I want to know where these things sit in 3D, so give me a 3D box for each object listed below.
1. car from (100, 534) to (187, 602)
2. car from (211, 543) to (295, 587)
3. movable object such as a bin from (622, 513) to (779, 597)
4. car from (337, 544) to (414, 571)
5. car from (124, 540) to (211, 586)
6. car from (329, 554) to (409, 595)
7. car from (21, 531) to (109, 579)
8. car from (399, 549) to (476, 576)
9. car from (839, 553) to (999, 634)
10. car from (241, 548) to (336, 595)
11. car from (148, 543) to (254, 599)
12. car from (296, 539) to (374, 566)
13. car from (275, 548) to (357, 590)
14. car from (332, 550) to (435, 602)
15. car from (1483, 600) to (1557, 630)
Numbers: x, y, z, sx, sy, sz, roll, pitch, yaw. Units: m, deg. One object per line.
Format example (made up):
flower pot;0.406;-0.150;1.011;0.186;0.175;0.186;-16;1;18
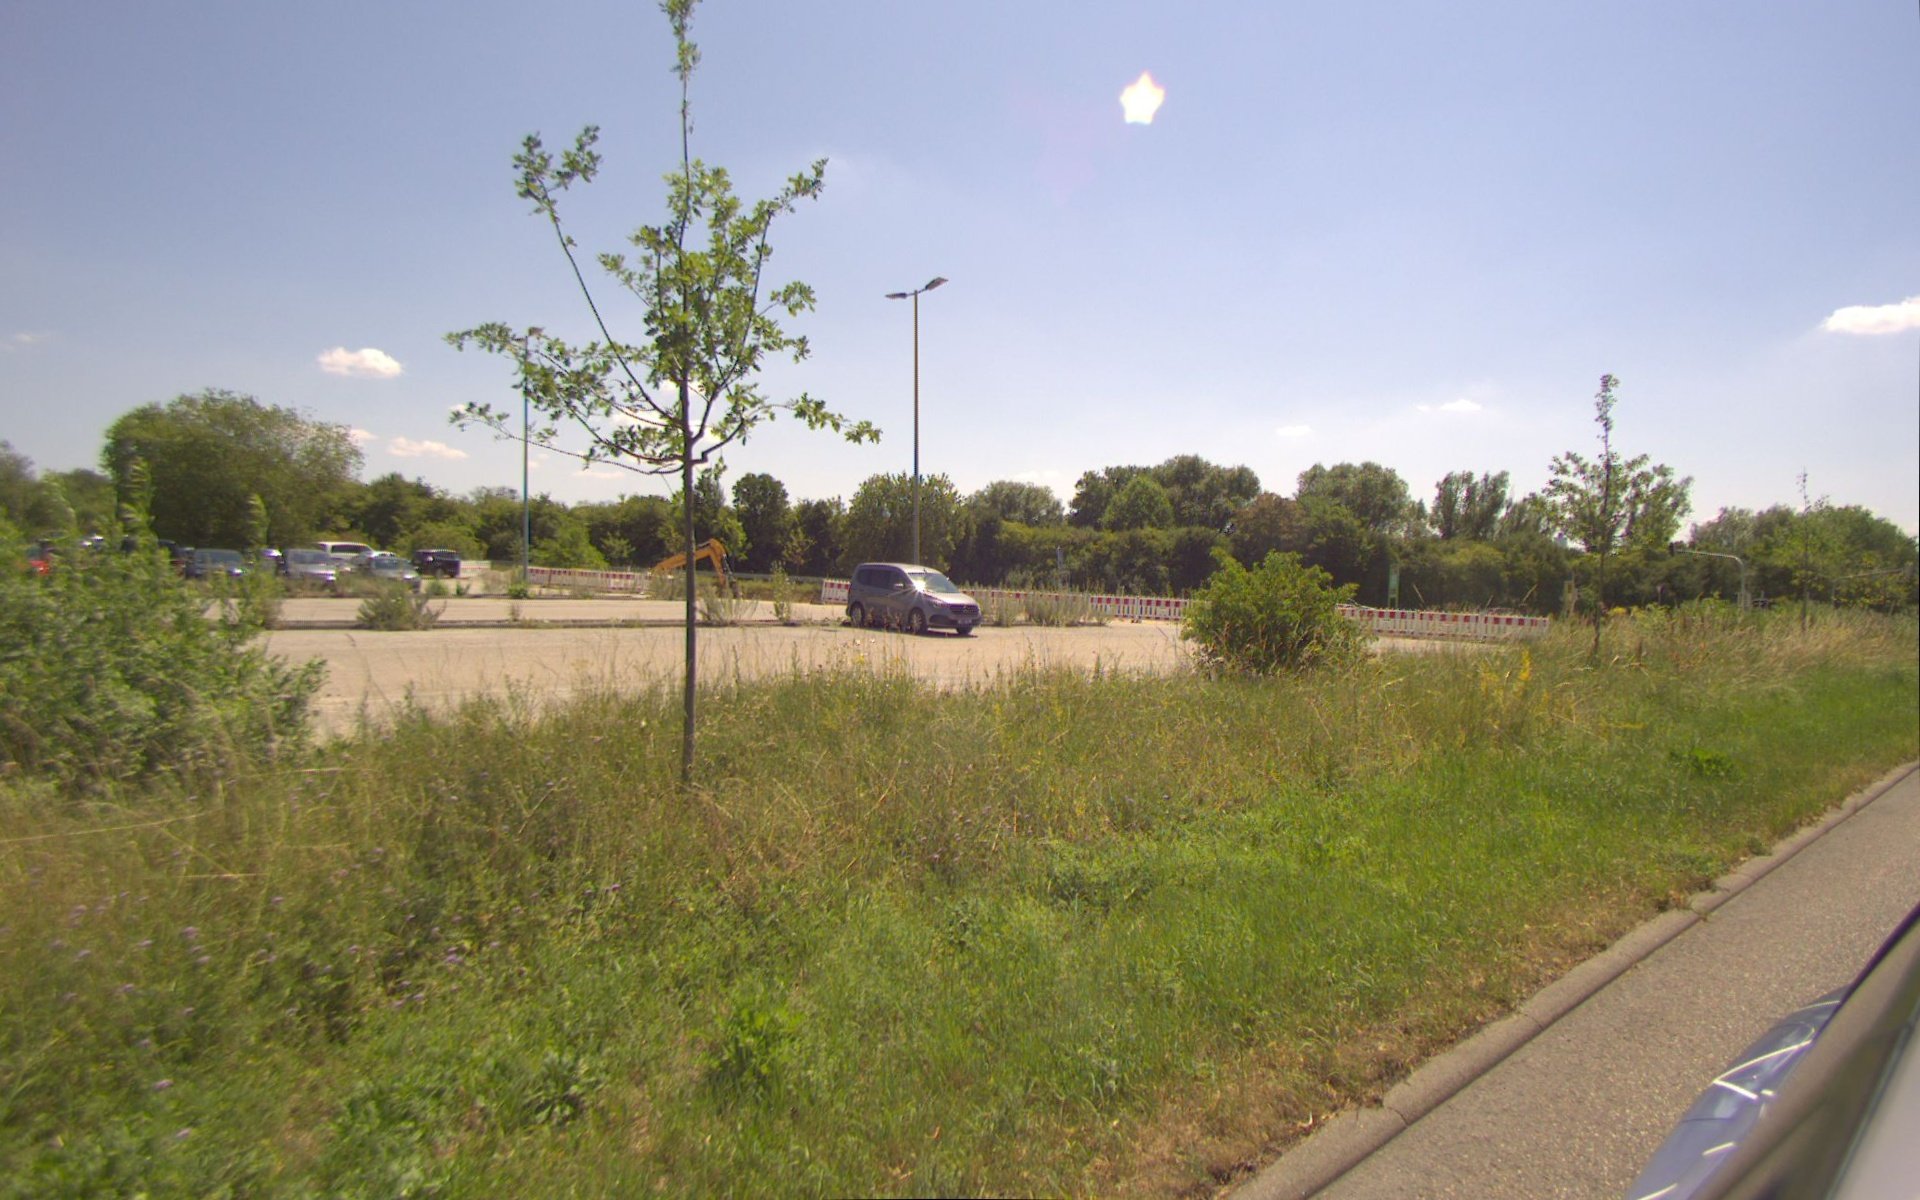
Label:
car;-23.627;-0.966;29.239;1.728;1.779;3.994;1;2;-42
car;-31.785;-1.576;45.470;3.981;1.660;1.972;4;0;39
movable object such as a bin;-14.658;-2.518;57.316;7.992;4.095;2.973;4;0;16
car;-36.640;-2.650;63.563;1.851;1.548;3.979;2;2;17
car;-33.620;-1.598;42.885;3.981;1.660;1.972;4;0;39
car;-28.440;-1.233;48.657;3.981;1.660;1.972;4;0;39
car;-36.151;-1.813;40.855;3.981;1.660;1.972;4;0;39
car;-31.489;-2.246;61.105;1.851;1.548;3.979;2;2;17
car;-1.191;-0.230;27.435;1.906;1.938;4.472;2;2;-41
car;-24.580;-1.070;36.991;3.981;1.438;1.696;4;0;39
car;-26.484;-1.025;35.279;3.981;1.660;1.972;4;0;39
car;-39.246;-2.950;63.647;1.851;1.548;3.979;2;2;17
car;-29.839;-1.434;46.857;3.981;1.660;1.972;4;0;39
car;-21.743;-0.915;38.113;3.981;1.660;1.972;4;0;39
car;37.882;1.012;68.537;3.933;1.660;1.778;4;0;7
